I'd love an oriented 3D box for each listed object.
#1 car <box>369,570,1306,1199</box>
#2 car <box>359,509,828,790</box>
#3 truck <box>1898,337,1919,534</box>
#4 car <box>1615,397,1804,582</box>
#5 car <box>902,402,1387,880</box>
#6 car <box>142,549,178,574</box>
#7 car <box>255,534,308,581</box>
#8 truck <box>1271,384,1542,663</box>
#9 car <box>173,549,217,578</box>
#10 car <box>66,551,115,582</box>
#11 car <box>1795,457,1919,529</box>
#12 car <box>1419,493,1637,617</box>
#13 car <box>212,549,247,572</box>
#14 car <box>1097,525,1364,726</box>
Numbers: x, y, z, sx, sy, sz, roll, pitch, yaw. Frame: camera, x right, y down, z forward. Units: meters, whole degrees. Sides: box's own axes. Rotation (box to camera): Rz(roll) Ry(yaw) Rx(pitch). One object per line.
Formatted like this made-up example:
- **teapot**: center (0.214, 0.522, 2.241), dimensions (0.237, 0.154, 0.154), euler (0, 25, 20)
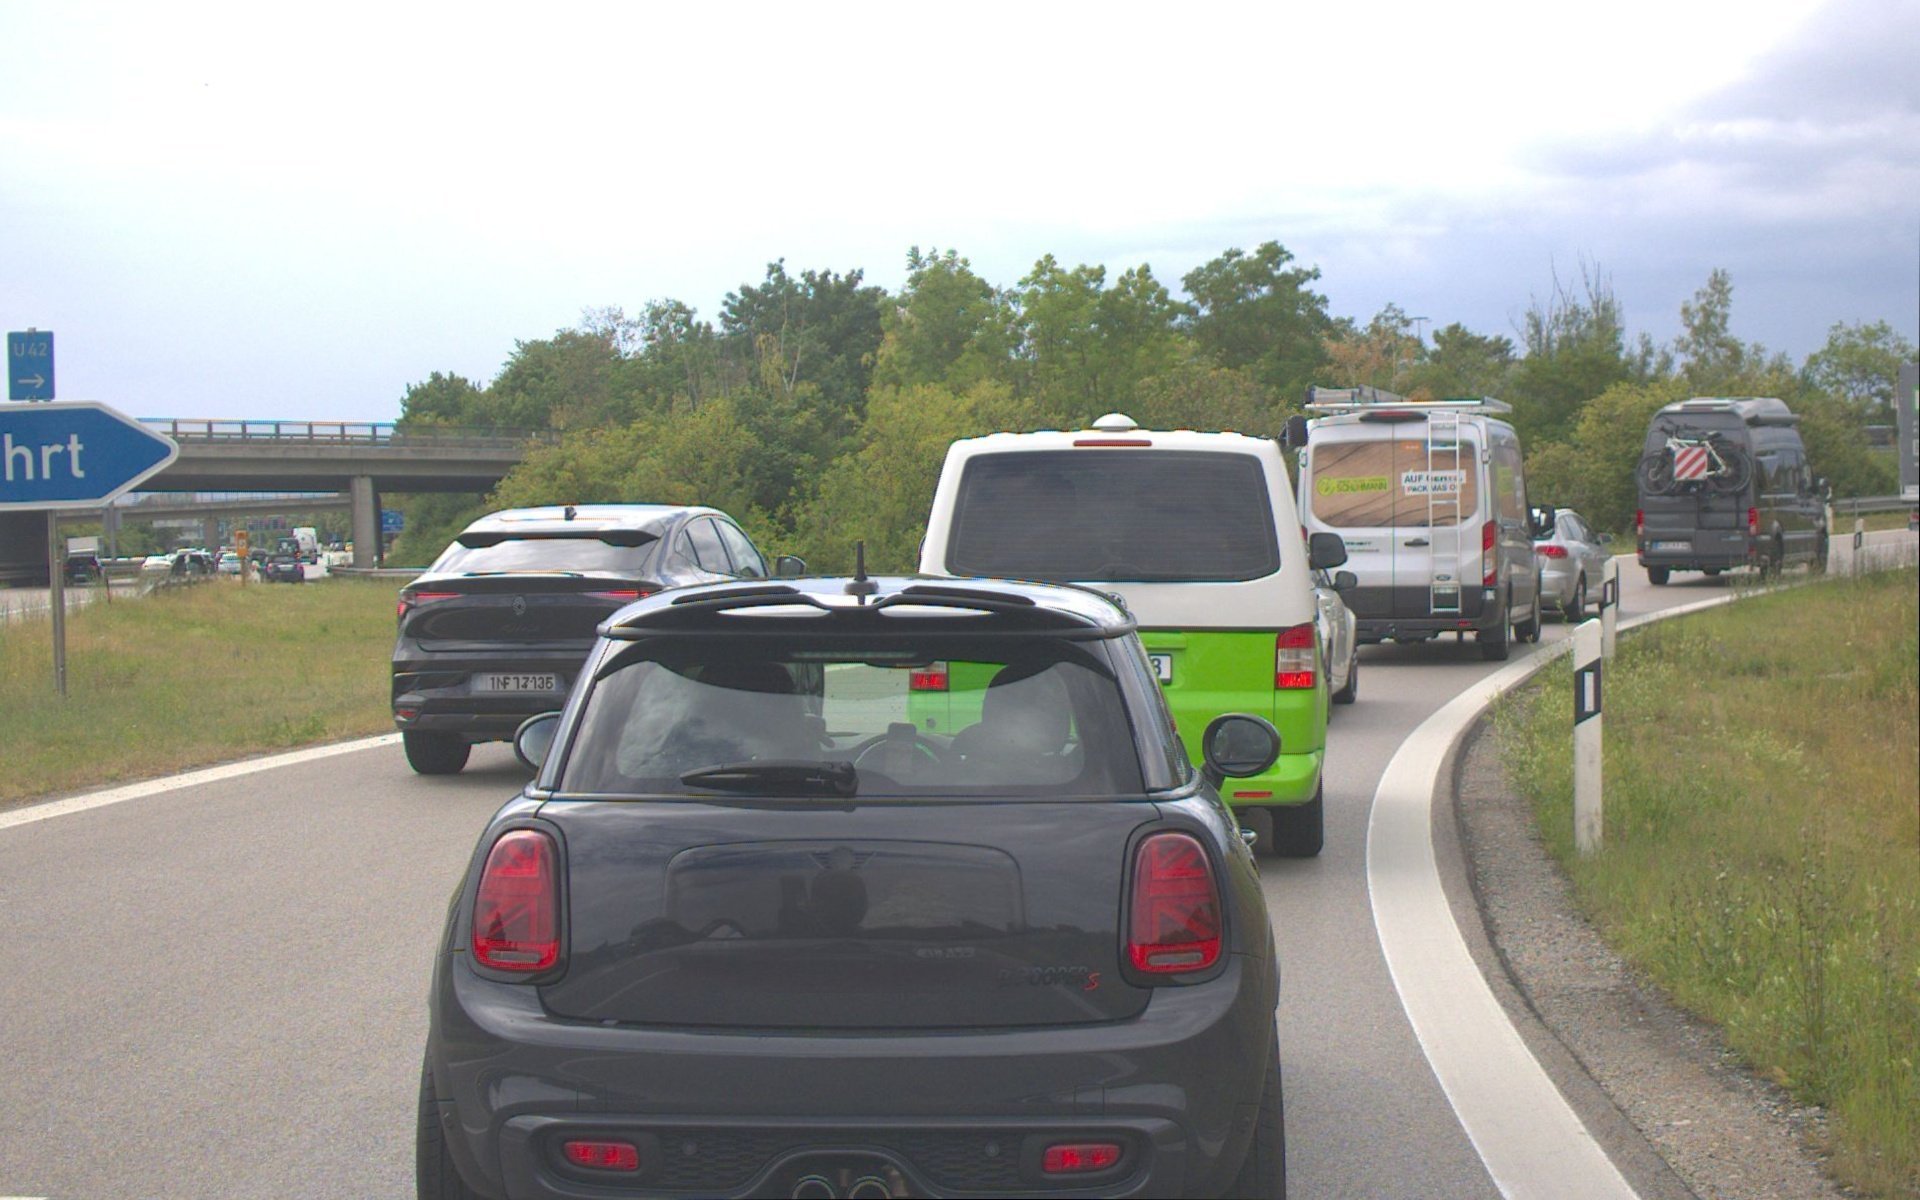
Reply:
- **car**: center (-0.254, 0.651, 8.208), dimensions (1.727, 1.409, 3.725), euler (0, 1, -1)
- **car**: center (-2.144, 0.237, 21.424), dimensions (1.834, 1.560, 4.496), euler (0, 1, 8)
- **truck**: center (21.288, -3.265, 70.279), dimensions (2.233, 3.893, 6.004), euler (1, 0, 34)
- **car**: center (11.871, -1.732, 54.273), dimensions (2.107, 2.786, 3.995), euler (1, 2, 24)
- **car**: center (1.013, 0.131, 16.552), dimensions (1.785, 2.007, 3.998), euler (0, 1, 11)
- **car**: center (-45.847, -2.220, 197.051), dimensions (1.779, 1.394, 4.307), euler (-1, 1, -10)
- **car**: center (-30.069, -1.880, 152.302), dimensions (1.993, 2.007, 4.001), euler (1, 0, -16)
- **truck**: center (4.698, -0.813, 35.524), dimensions (2.180, 2.649, 5.106), euler (0, 2, 14)
- **car**: center (-38.496, -1.862, 173.085), dimensions (1.779, 1.394, 4.552), euler (-1, 1, -8)
- **car**: center (-41.173, -1.607, 162.869), dimensions (1.779, 1.394, 4.307), euler (-1, 1, -8)
- **car**: center (20.922, -2.453, 79.456), dimensions (1.799, 1.550, 3.953), euler (0, 0, 35)
- **car**: center (7.283, -0.583, 43.811), dimensions (1.868, 1.504, 3.995), euler (0, 1, 23)
- **car**: center (-44.882, -2.452, 211.267), dimensions (1.779, 1.394, 4.030), euler (-1, 1, -7)
- **car**: center (2.102, 0.147, 25.876), dimensions (1.763, 1.394, 3.724), euler (-1, 1, 8)
